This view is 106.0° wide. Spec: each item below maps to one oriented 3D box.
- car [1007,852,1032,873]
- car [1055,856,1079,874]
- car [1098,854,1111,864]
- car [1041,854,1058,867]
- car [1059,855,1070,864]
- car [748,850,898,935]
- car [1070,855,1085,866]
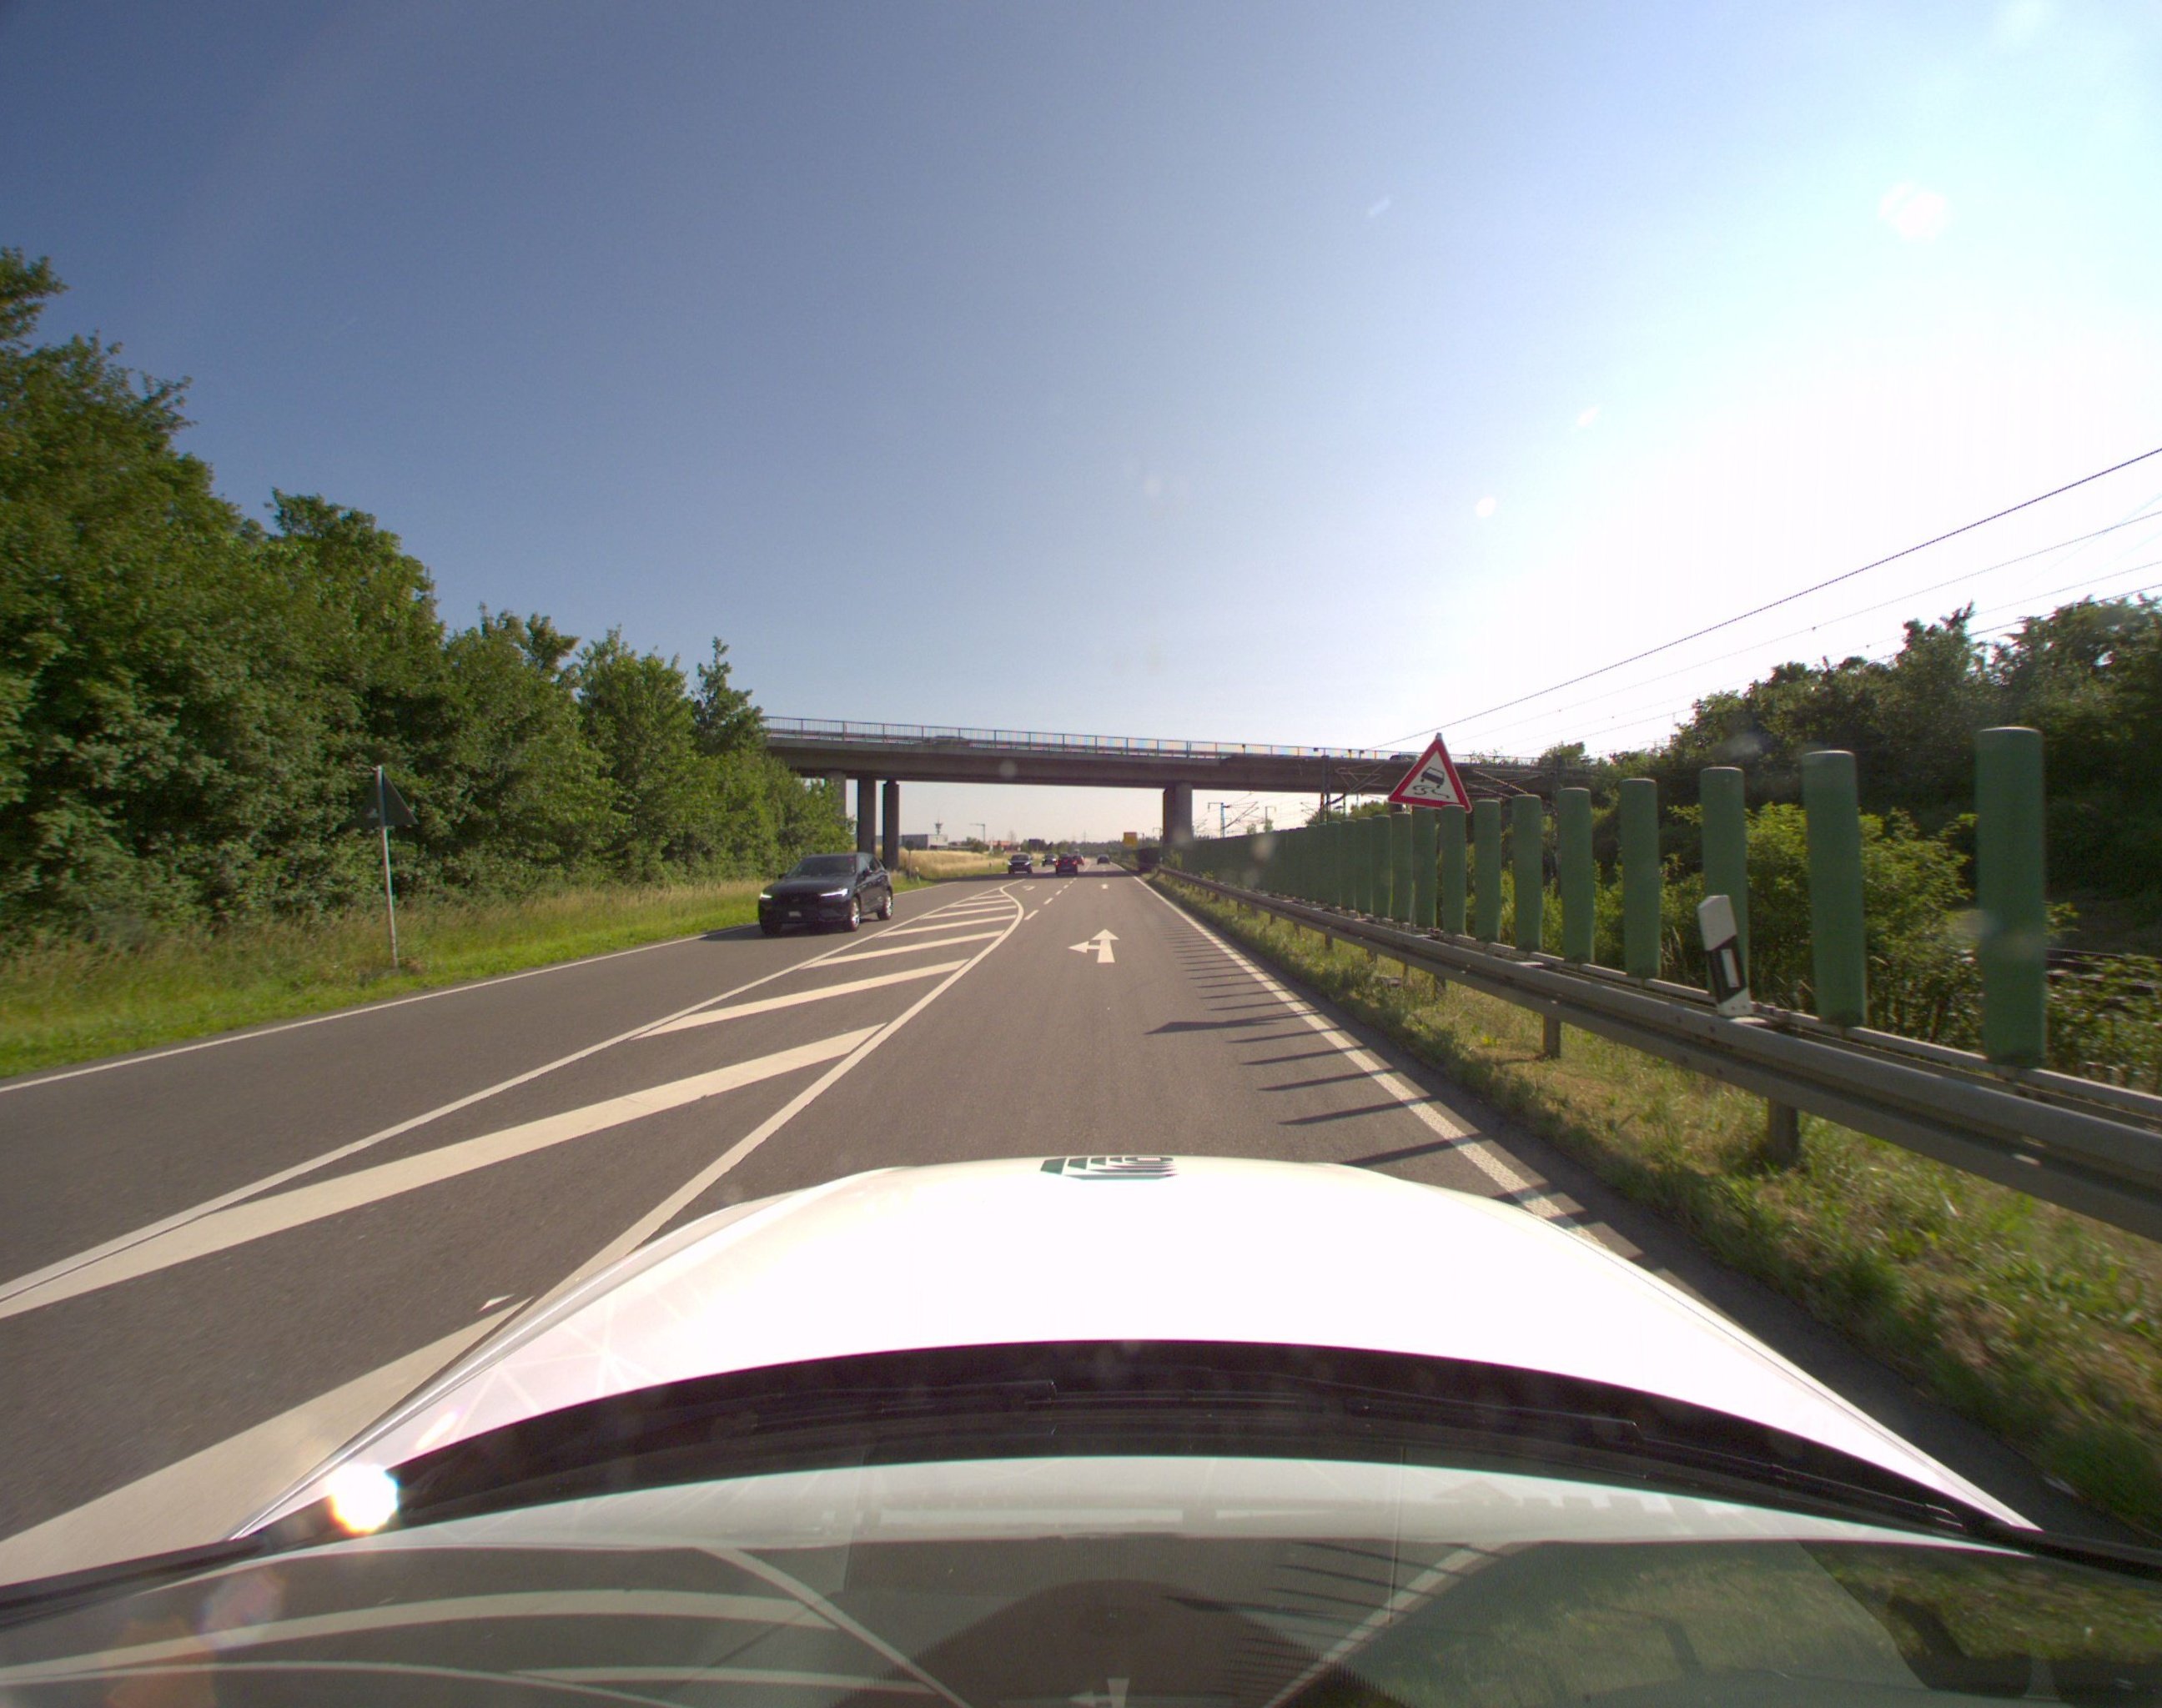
[{"bbox_3d":[-5.174,0.699,68.928,1.839,1.630,3.999,-1,0,0],"label":"car"},{"bbox_3d":[-1.026,0.815,61.554,1.657,1.261,4.001,-1,0,2],"label":"car"},{"bbox_3d":[3.511,0.729,119.761,1.888,1.418,4.001,-1,0,2],"label":"car"},{"bbox_3d":[-4.182,0.822,108.426,1.888,1.630,4.001,-1,0,2],"label":"car"},{"bbox_3d":[-3.131,1.086,158.500,1.888,1.630,4.001,-1,0,2],"label":"car"},{"bbox_3d":[-5.509,0.744,18.019,1.916,1.593,4.428,-2,0,-1],"label":"car"},{"bbox_3d":[-0.415,0.876,111.755,1.888,1.418,4.001,-1,0,2],"label":"car"}]
